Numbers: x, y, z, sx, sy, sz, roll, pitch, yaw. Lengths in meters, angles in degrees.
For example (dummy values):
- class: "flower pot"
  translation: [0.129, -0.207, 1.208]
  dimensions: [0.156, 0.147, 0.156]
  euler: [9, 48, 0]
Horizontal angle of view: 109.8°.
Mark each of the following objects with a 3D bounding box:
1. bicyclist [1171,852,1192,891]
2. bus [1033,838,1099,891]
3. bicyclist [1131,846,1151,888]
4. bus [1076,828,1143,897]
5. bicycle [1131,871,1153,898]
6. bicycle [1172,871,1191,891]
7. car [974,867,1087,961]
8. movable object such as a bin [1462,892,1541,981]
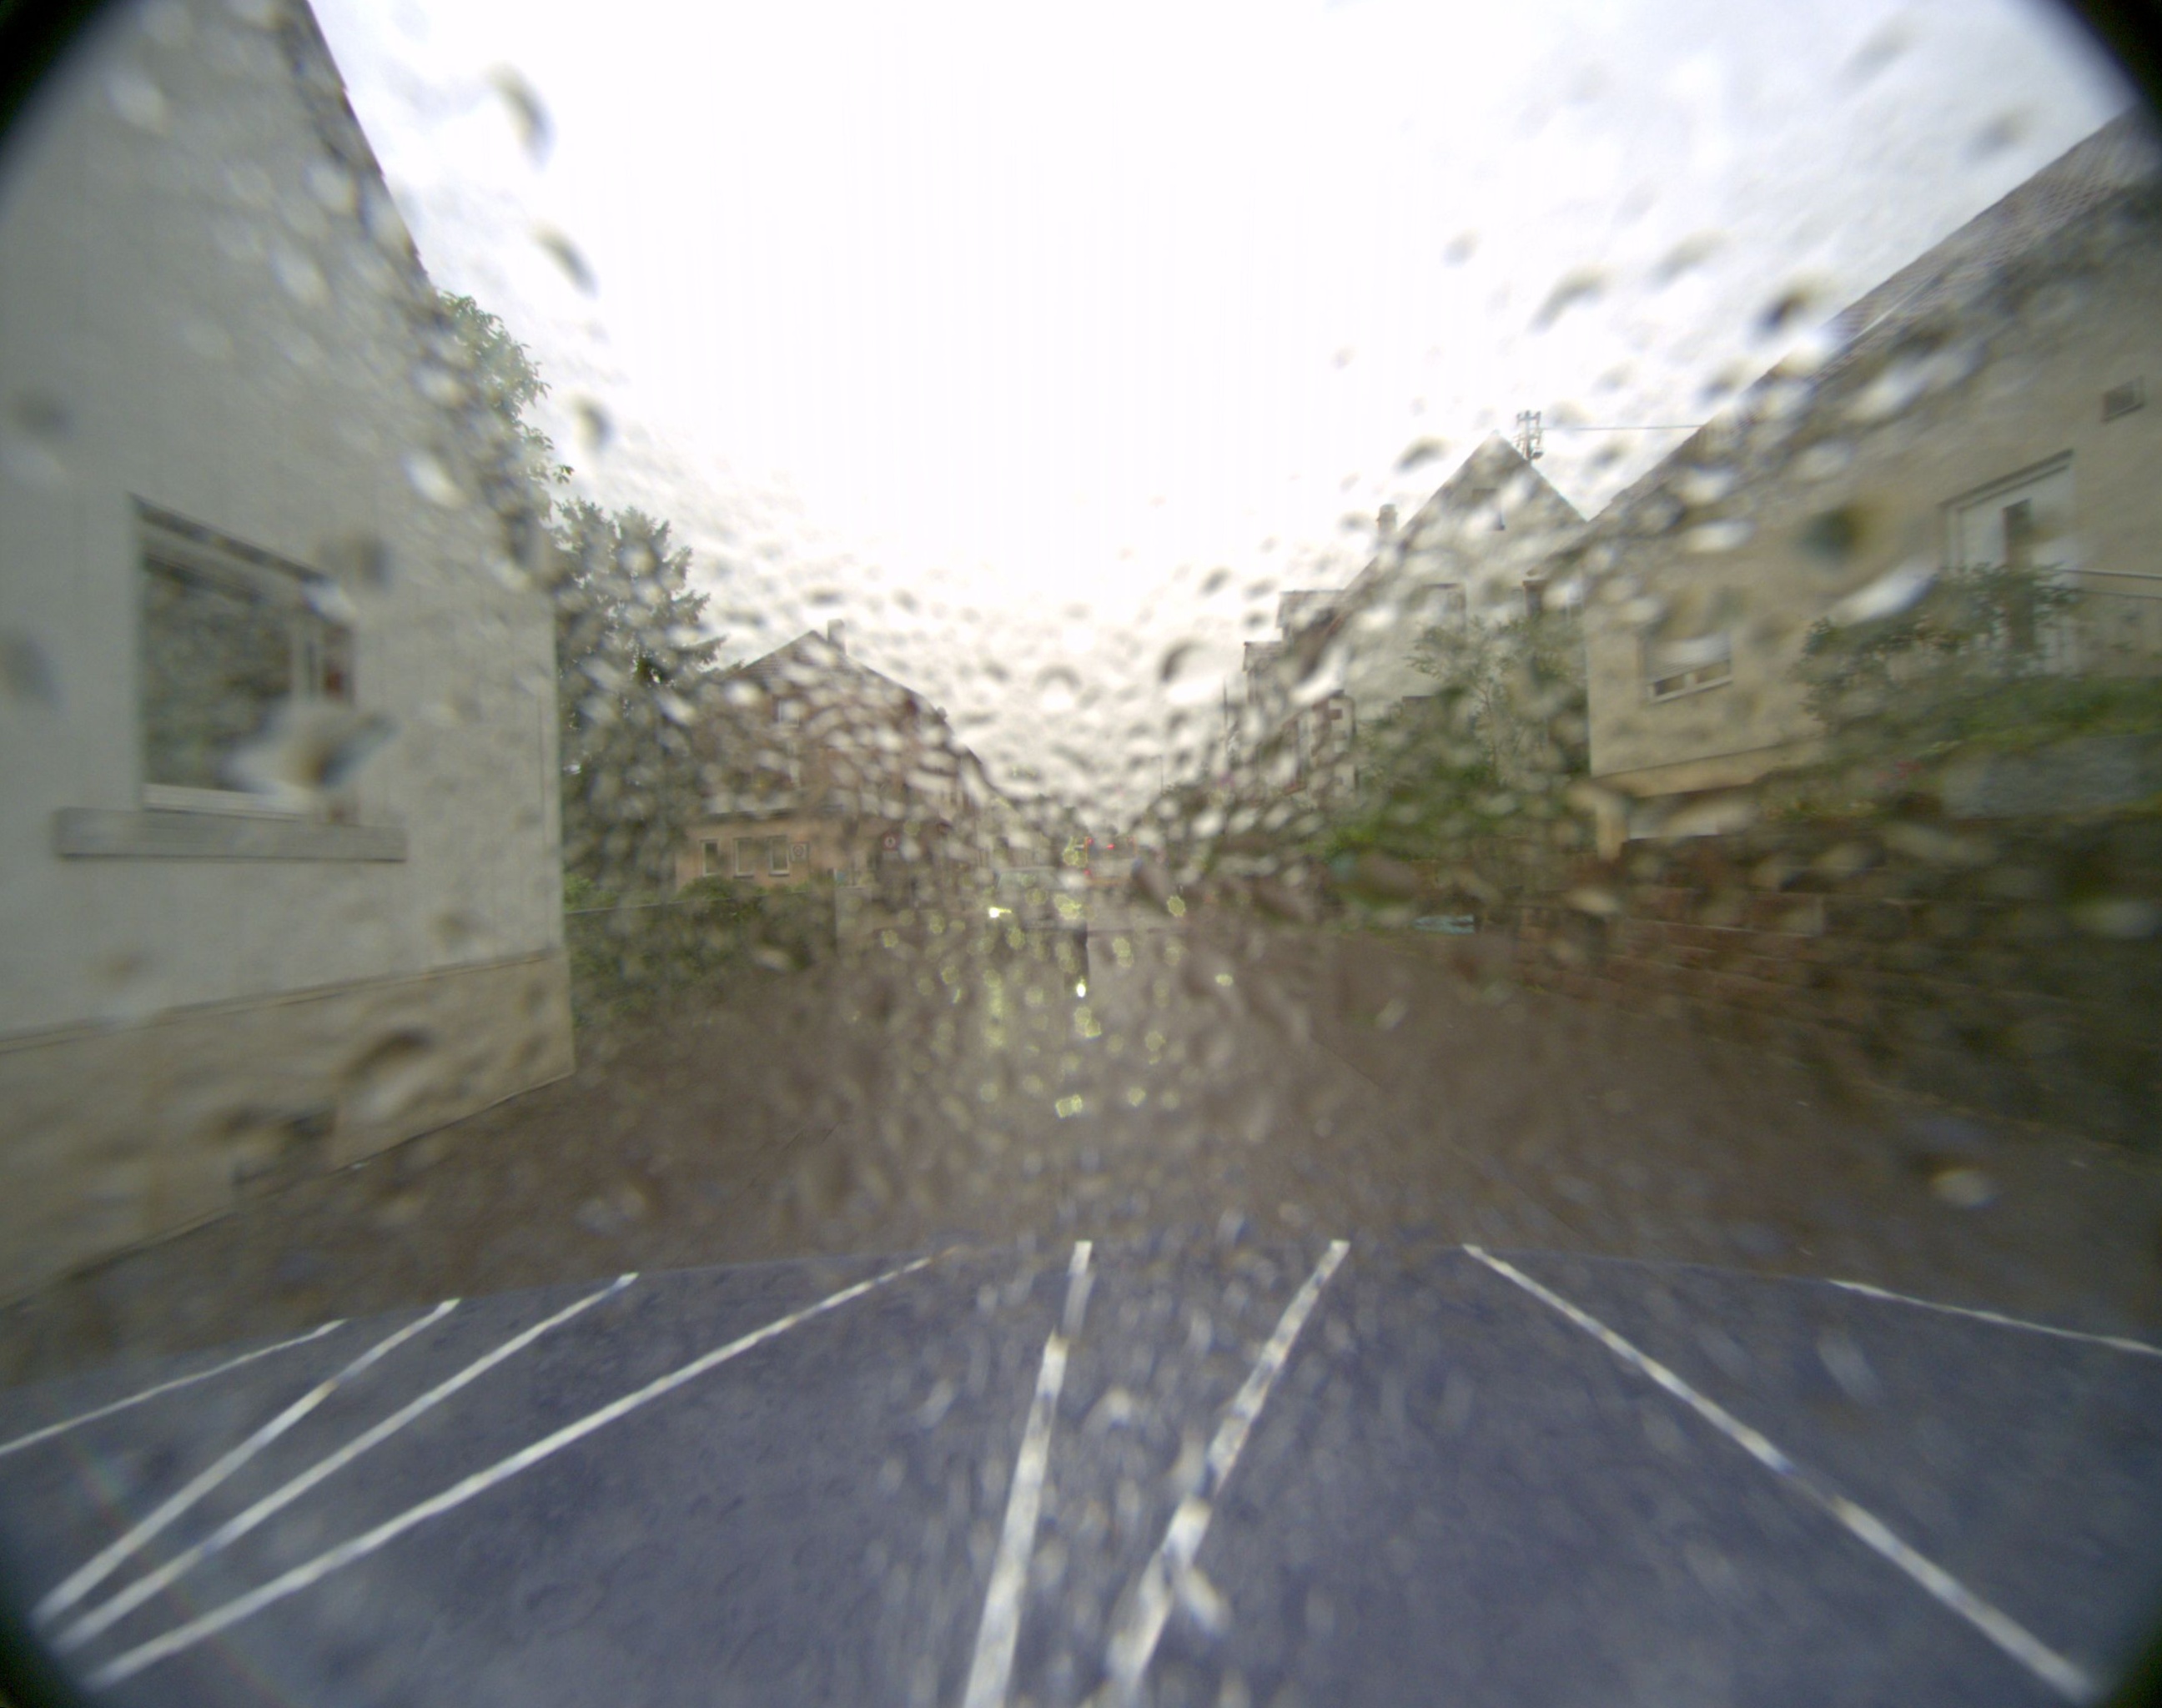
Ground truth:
- class: "bicyclist"
  translation: [4.700, 0.819, 35.614]
  dimensions: [0.657, 1.759, 0.705]
  euler: [-4, -2, 27]
- class: "bus"
  translation: [-0.839, 0.713, 58.166]
  dimensions: [3.439, 3.391, 13.875]
  euler: [-2, 0, 5]
- class: "bicyclist"
  translation: [2.537, 0.552, 32.259]
  dimensions: [0.689, 1.703, 0.703]
  euler: [-4, 1, -1]
- class: "bus"
  translation: [1.650, 0.410, 40.217]
  dimensions: [2.813, 2.921, 11.945]
  euler: [-4, 0, 3]
- class: "bicycle"
  translation: [2.584, 1.288, 32.292]
  dimensions: [0.682, 1.044, 2.339]
  euler: [-3, 0, -1]
- class: "bicycle"
  translation: [4.695, 1.270, 35.657]
  dimensions: [0.663, 0.865, 1.936]
  euler: [-4, -2, 2]
- class: "car"
  translation: [-0.848, 1.025, 14.675]
  dimensions: [1.780, 1.348, 4.187]
  euler: [-4, 0, 0]
- class: "movable object such as a bin"
  translation: [4.762, 0.920, 8.626]
  dimensions: [0.539, 0.925, 0.544]
  euler: [-4, 1, -3]
